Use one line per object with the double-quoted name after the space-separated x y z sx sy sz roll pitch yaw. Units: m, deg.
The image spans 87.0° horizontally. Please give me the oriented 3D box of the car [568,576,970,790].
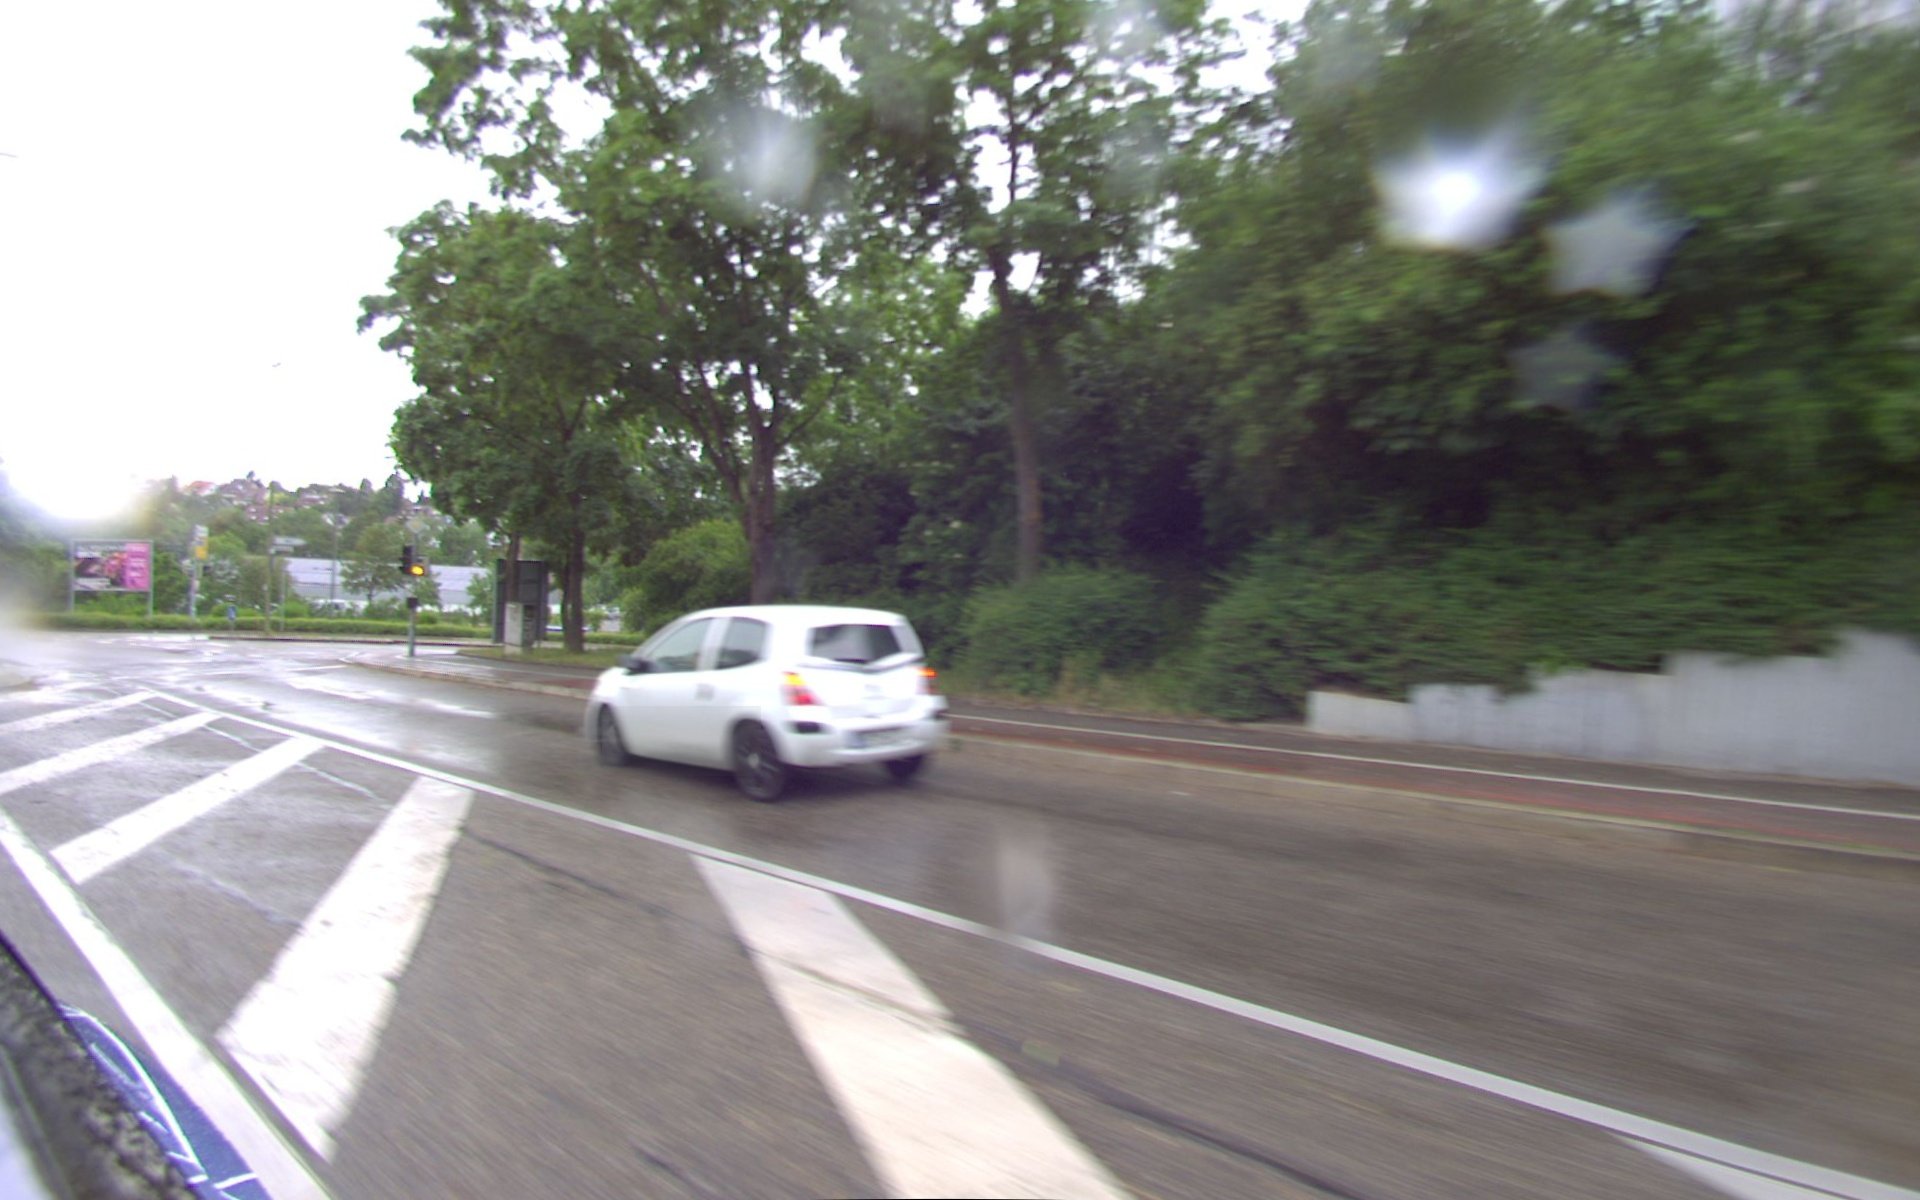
-1.813 0.592 8.786 3.817 1.459 1.496 -1 -1 44 "car"
